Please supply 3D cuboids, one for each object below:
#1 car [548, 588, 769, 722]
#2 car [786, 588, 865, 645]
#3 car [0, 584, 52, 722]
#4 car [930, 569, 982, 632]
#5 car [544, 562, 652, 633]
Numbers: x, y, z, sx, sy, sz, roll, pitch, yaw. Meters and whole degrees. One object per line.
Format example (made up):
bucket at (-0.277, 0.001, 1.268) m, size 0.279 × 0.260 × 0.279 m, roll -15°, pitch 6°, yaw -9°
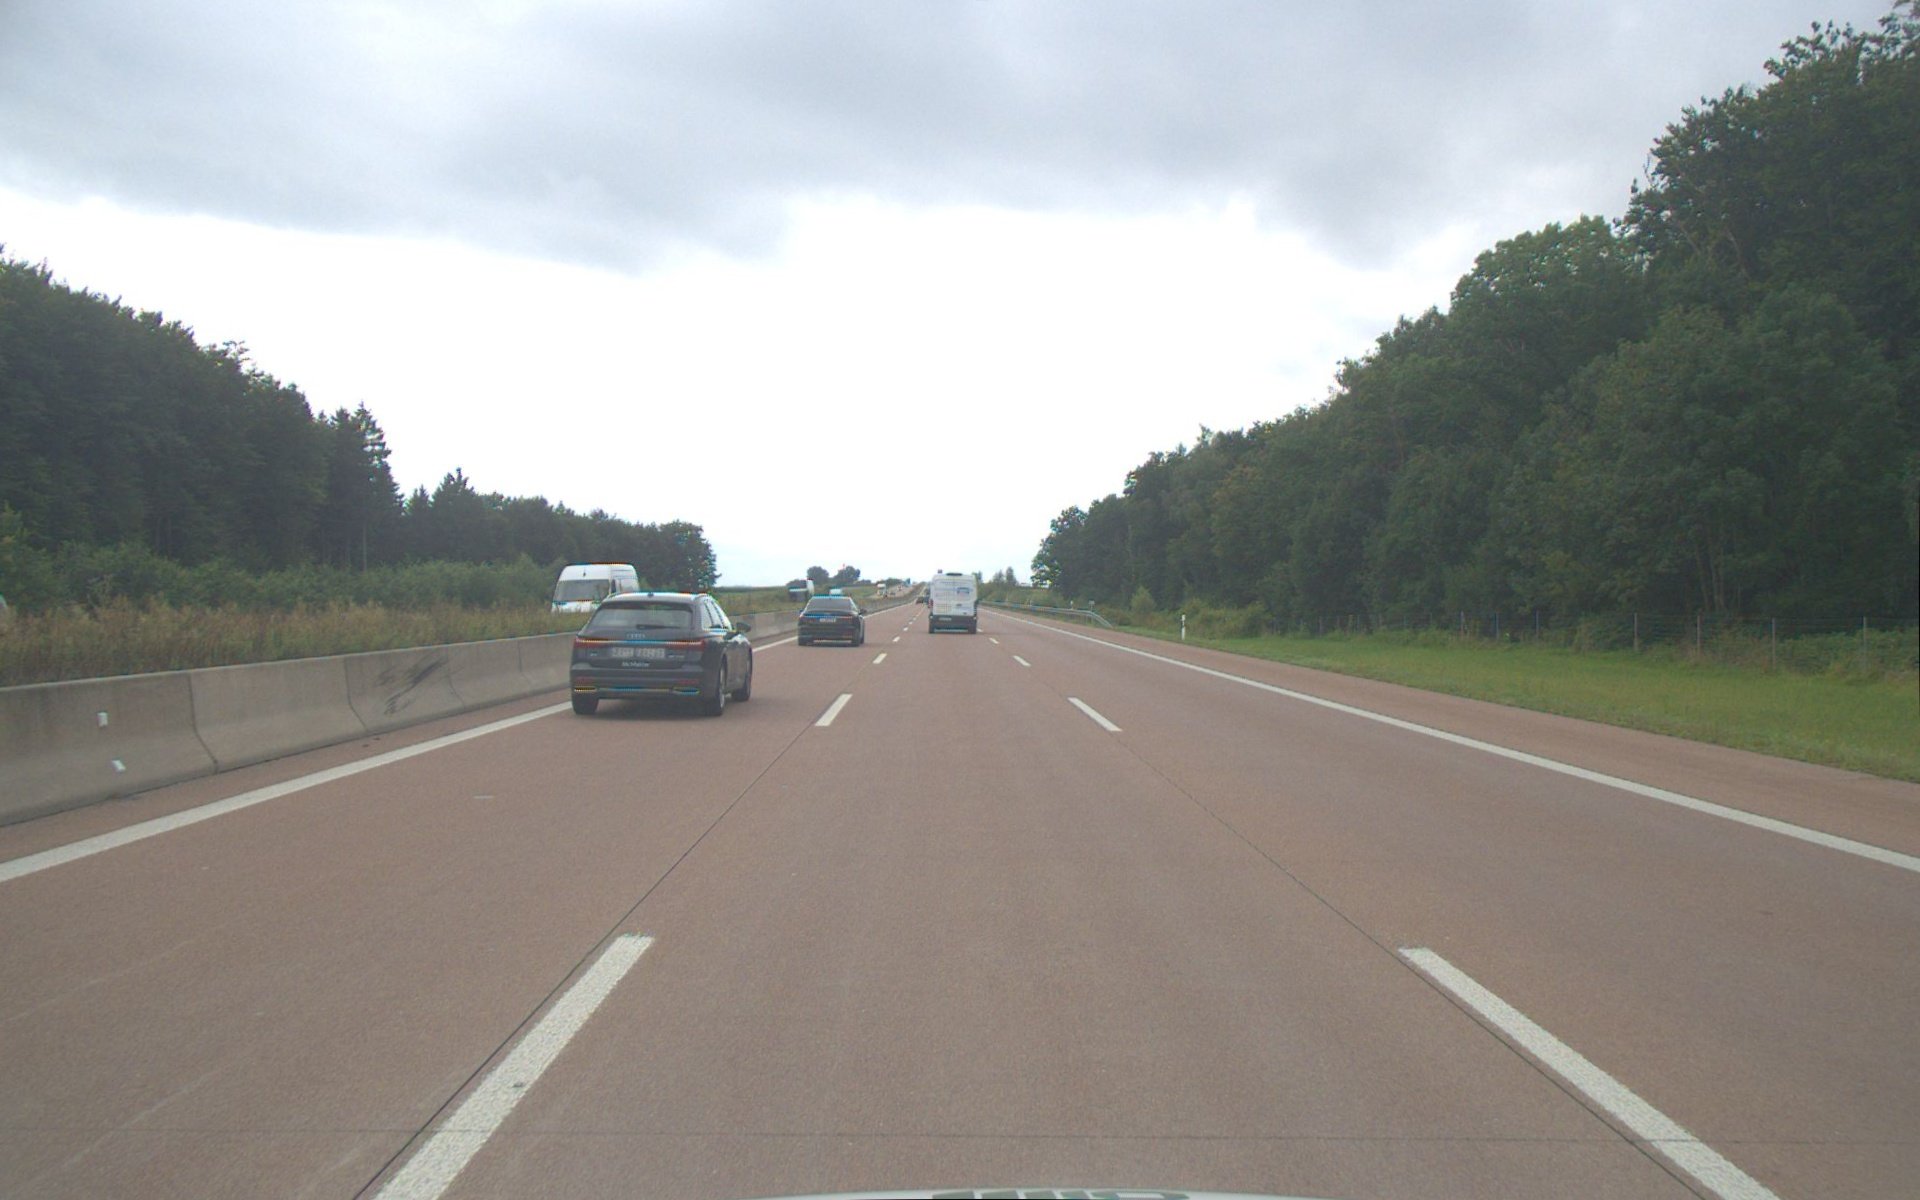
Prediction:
car at (-3.790, 0.616, 21.816) m, size 2.017 × 1.517 × 5.451 m, roll 1°, pitch 0°, yaw -1°
car at (-4.053, 0.470, 50.641) m, size 2.043 × 1.577 × 5.673 m, roll 1°, pitch 1°, yaw -1°
car at (-14.893, 0.758, 23.609) m, size 1.638 × 2.015 × 3.999 m, roll 2°, pitch 0°, yaw -1°
car at (-0.207, -0.006, 70.635) m, size 2.094 × 2.551 × 7.131 m, roll 0°, pitch 1°, yaw -1°
car at (-12.089, -0.088, 55.772) m, size 2.030 × 2.179 × 7.486 m, roll 1°, pitch 0°, yaw -1°
